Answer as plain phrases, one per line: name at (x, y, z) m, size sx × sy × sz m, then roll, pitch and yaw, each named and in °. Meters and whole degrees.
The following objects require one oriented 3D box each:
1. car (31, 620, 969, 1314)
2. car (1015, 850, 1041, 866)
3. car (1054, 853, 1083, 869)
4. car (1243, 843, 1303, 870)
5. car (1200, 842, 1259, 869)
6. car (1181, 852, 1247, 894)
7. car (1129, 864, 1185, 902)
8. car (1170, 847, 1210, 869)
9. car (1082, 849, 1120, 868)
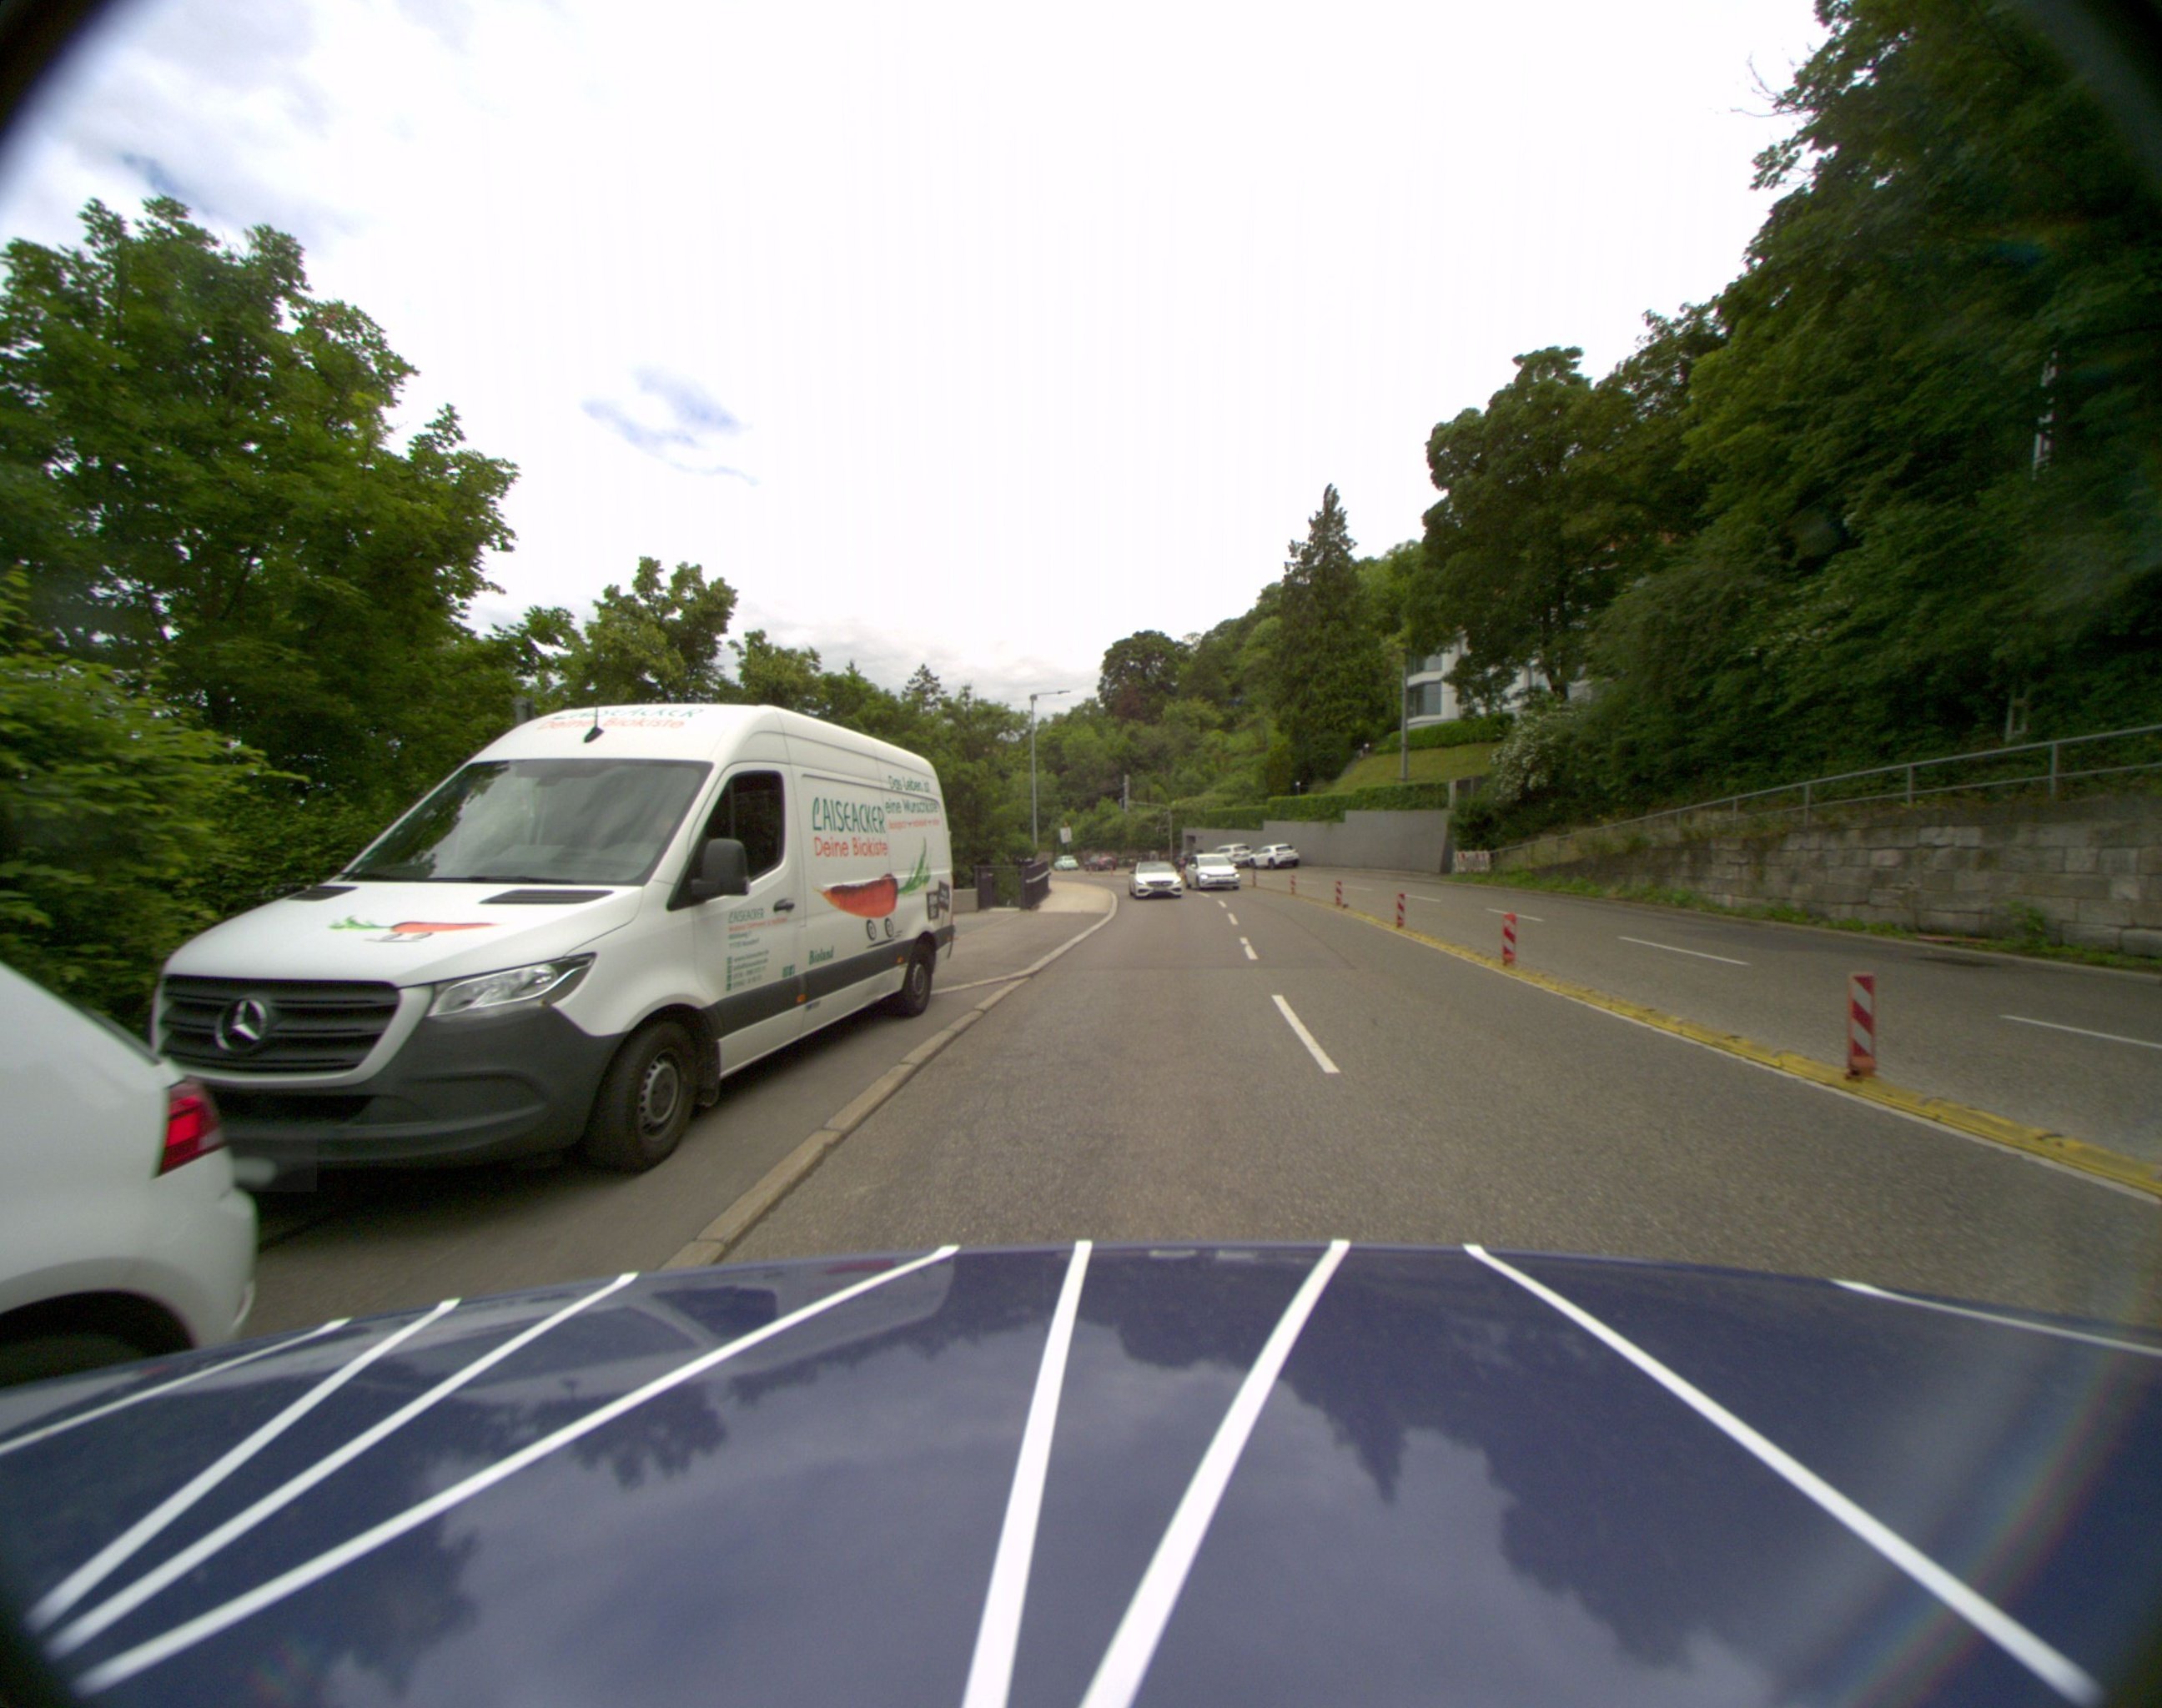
car at (-2.706, 0.389, 5.773) m, size 2.088 × 2.509 × 5.848 m, roll 1°, pitch 1°, yaw 8°
car at (-6.267, 0.476, 89.468) m, size 1.890 × 1.687 × 4.664 m, roll -4°, pitch 1°, yaw -17°
car at (-1.287, 0.720, 77.427) m, size 1.718 × 1.458 × 3.654 m, roll -4°, pitch 1°, yaw -21°
car at (12.586, 0.157, 50.018) m, size 1.839 × 1.564 × 4.469 m, roll -4°, pitch 2°, yaw -14°
car at (10.751, 0.116, 55.495) m, size 1.866 × 1.721 × 4.752 m, roll -5°, pitch 2°, yaw -21°
car at (5.811, 0.788, 33.644) m, size 1.886 × 1.569 × 3.997 m, roll -4°, pitch 2°, yaw -4°
car at (2.956, 1.098, 30.251) m, size 1.798 × 1.299 × 4.101 m, roll -2°, pitch 0°, yaw 0°
car at (8.621, 0.337, 60.269) m, size 1.718 × 1.564 × 2.952 m, roll -7°, pitch 1°, yaw -23°
car at (1.791, 0.423, 70.061) m, size 1.718 × 1.588 × 4.198 m, roll -4°, pitch 1°, yaw -26°
